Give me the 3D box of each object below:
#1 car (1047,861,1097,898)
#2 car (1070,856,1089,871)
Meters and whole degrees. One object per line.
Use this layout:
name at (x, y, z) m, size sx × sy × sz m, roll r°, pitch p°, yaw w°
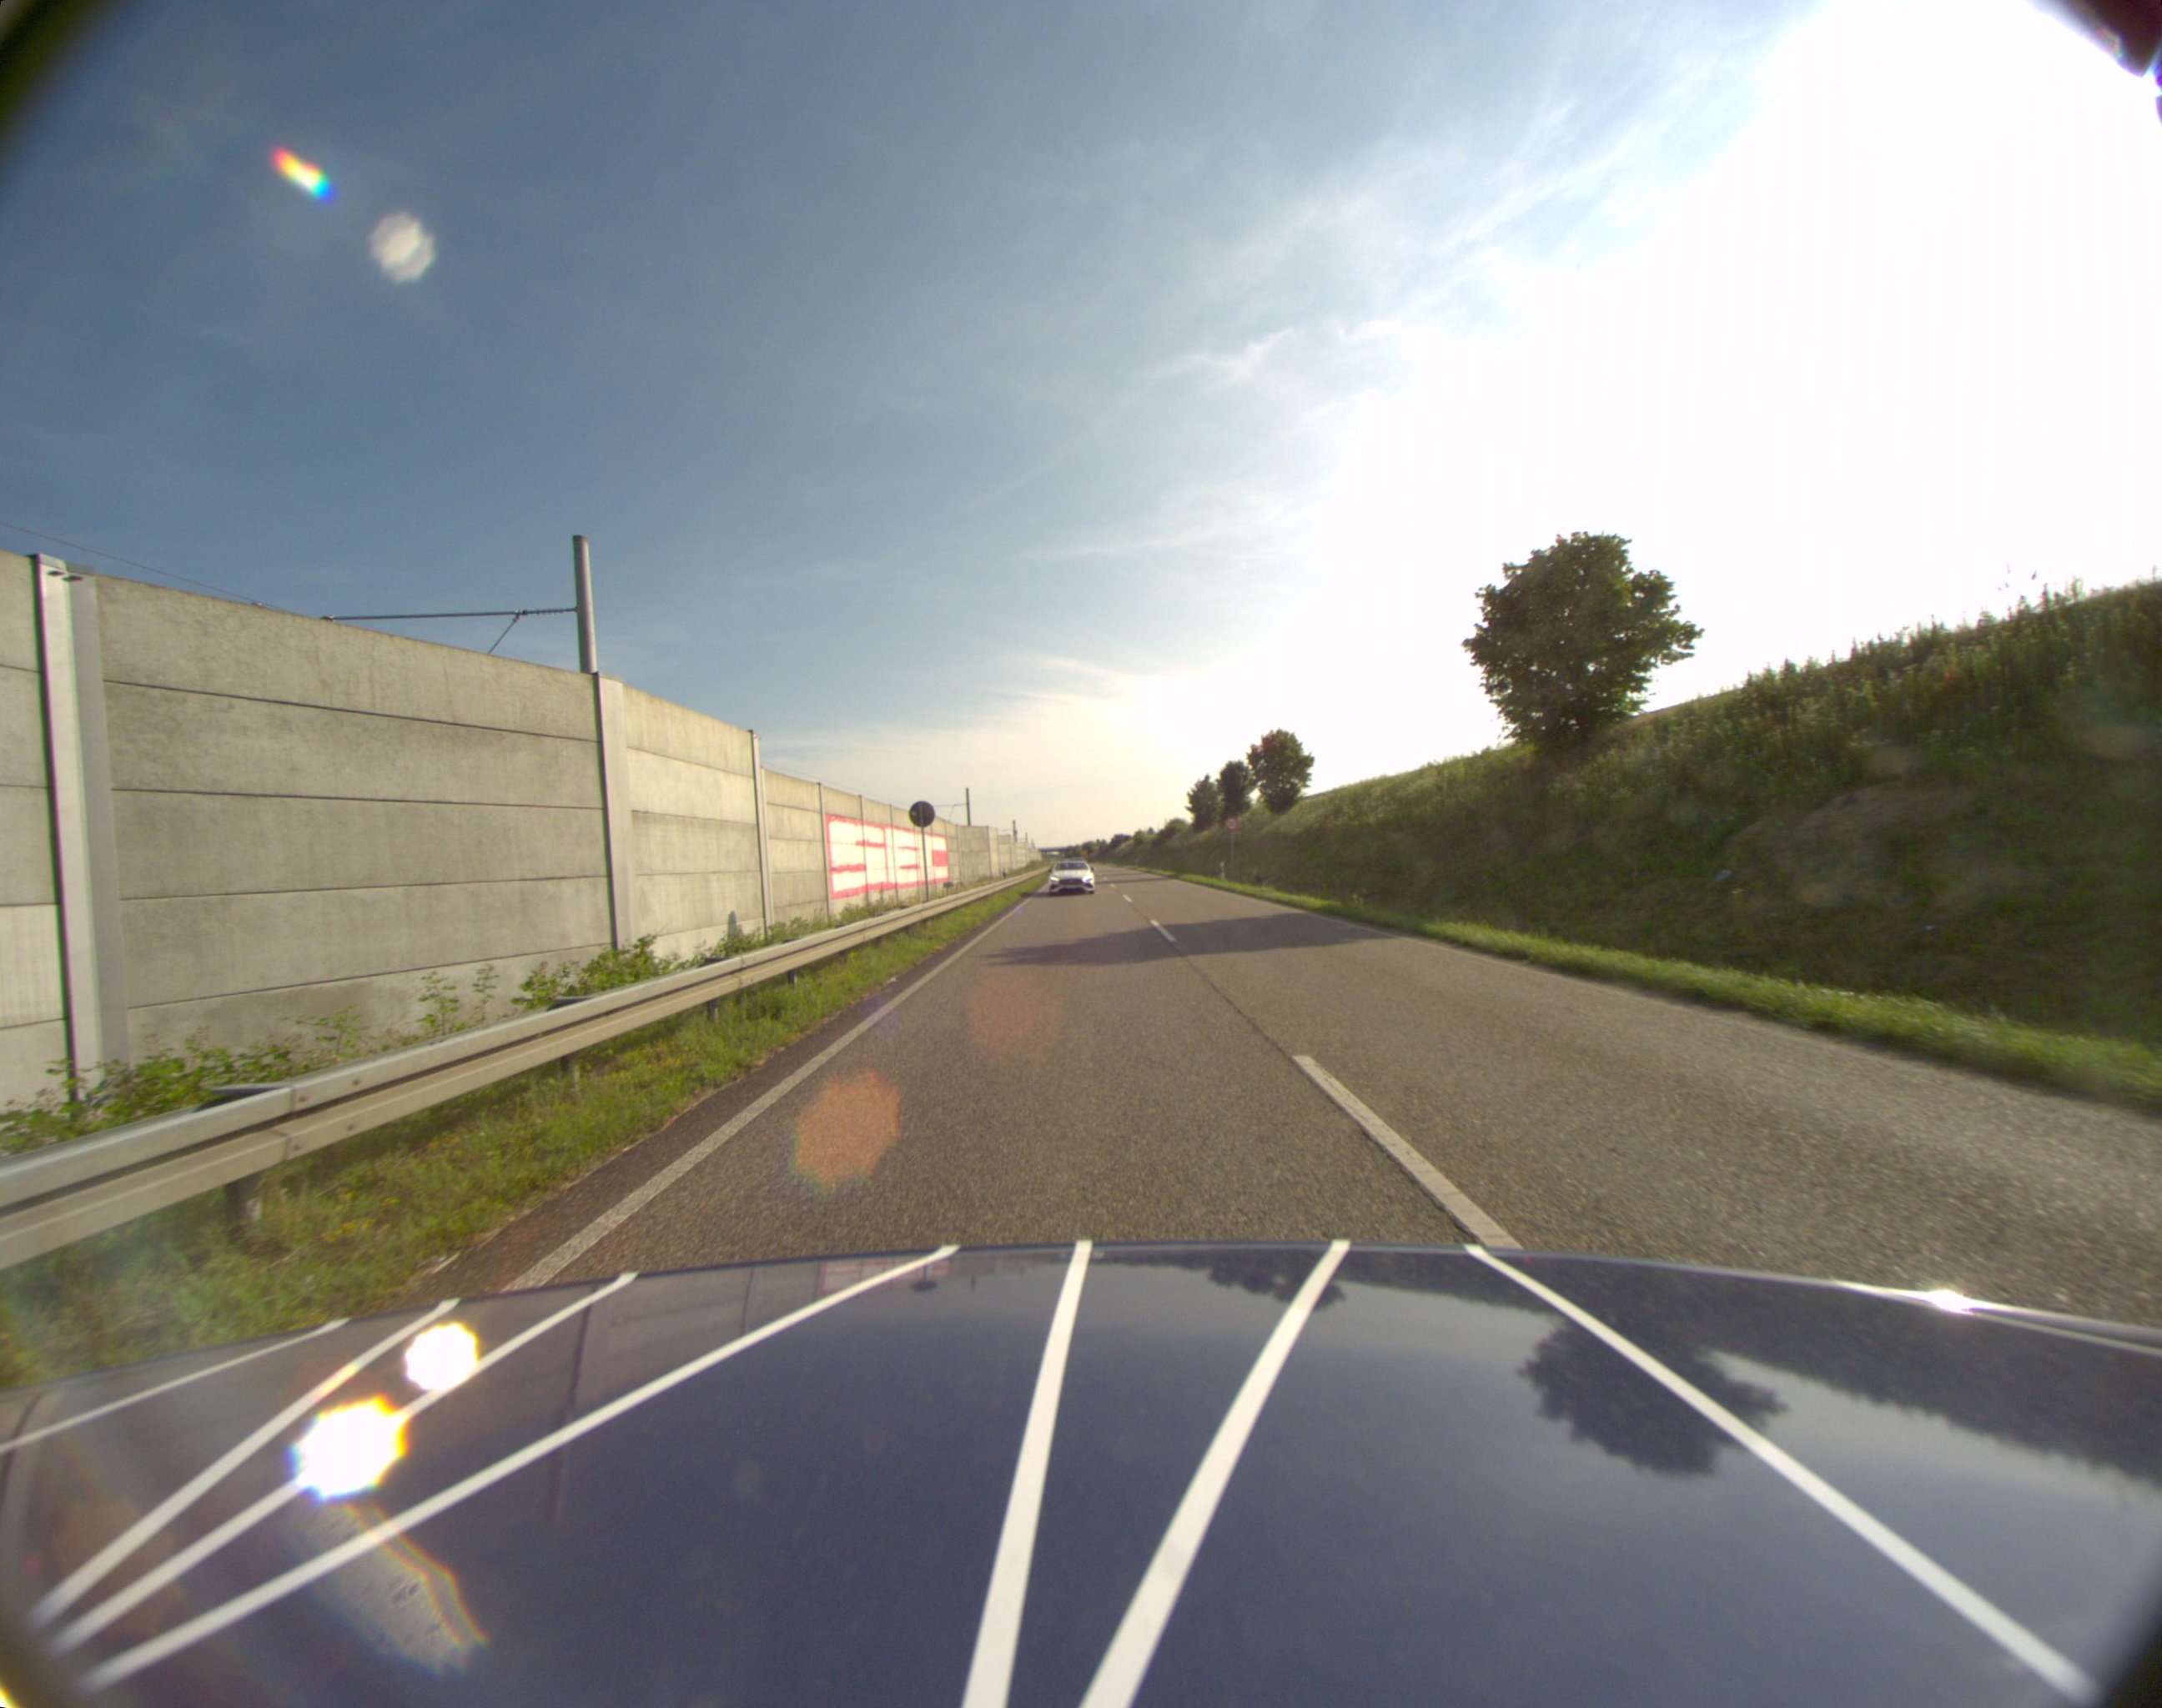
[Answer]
car at (-0.432, 1.051, 33.066) m, size 1.930 × 1.398 × 4.973 m, roll -3°, pitch 0°, yaw -2°
car at (-0.138, 1.007, 79.695) m, size 1.930 × 1.399 × 4.973 m, roll -2°, pitch 0°, yaw 0°
